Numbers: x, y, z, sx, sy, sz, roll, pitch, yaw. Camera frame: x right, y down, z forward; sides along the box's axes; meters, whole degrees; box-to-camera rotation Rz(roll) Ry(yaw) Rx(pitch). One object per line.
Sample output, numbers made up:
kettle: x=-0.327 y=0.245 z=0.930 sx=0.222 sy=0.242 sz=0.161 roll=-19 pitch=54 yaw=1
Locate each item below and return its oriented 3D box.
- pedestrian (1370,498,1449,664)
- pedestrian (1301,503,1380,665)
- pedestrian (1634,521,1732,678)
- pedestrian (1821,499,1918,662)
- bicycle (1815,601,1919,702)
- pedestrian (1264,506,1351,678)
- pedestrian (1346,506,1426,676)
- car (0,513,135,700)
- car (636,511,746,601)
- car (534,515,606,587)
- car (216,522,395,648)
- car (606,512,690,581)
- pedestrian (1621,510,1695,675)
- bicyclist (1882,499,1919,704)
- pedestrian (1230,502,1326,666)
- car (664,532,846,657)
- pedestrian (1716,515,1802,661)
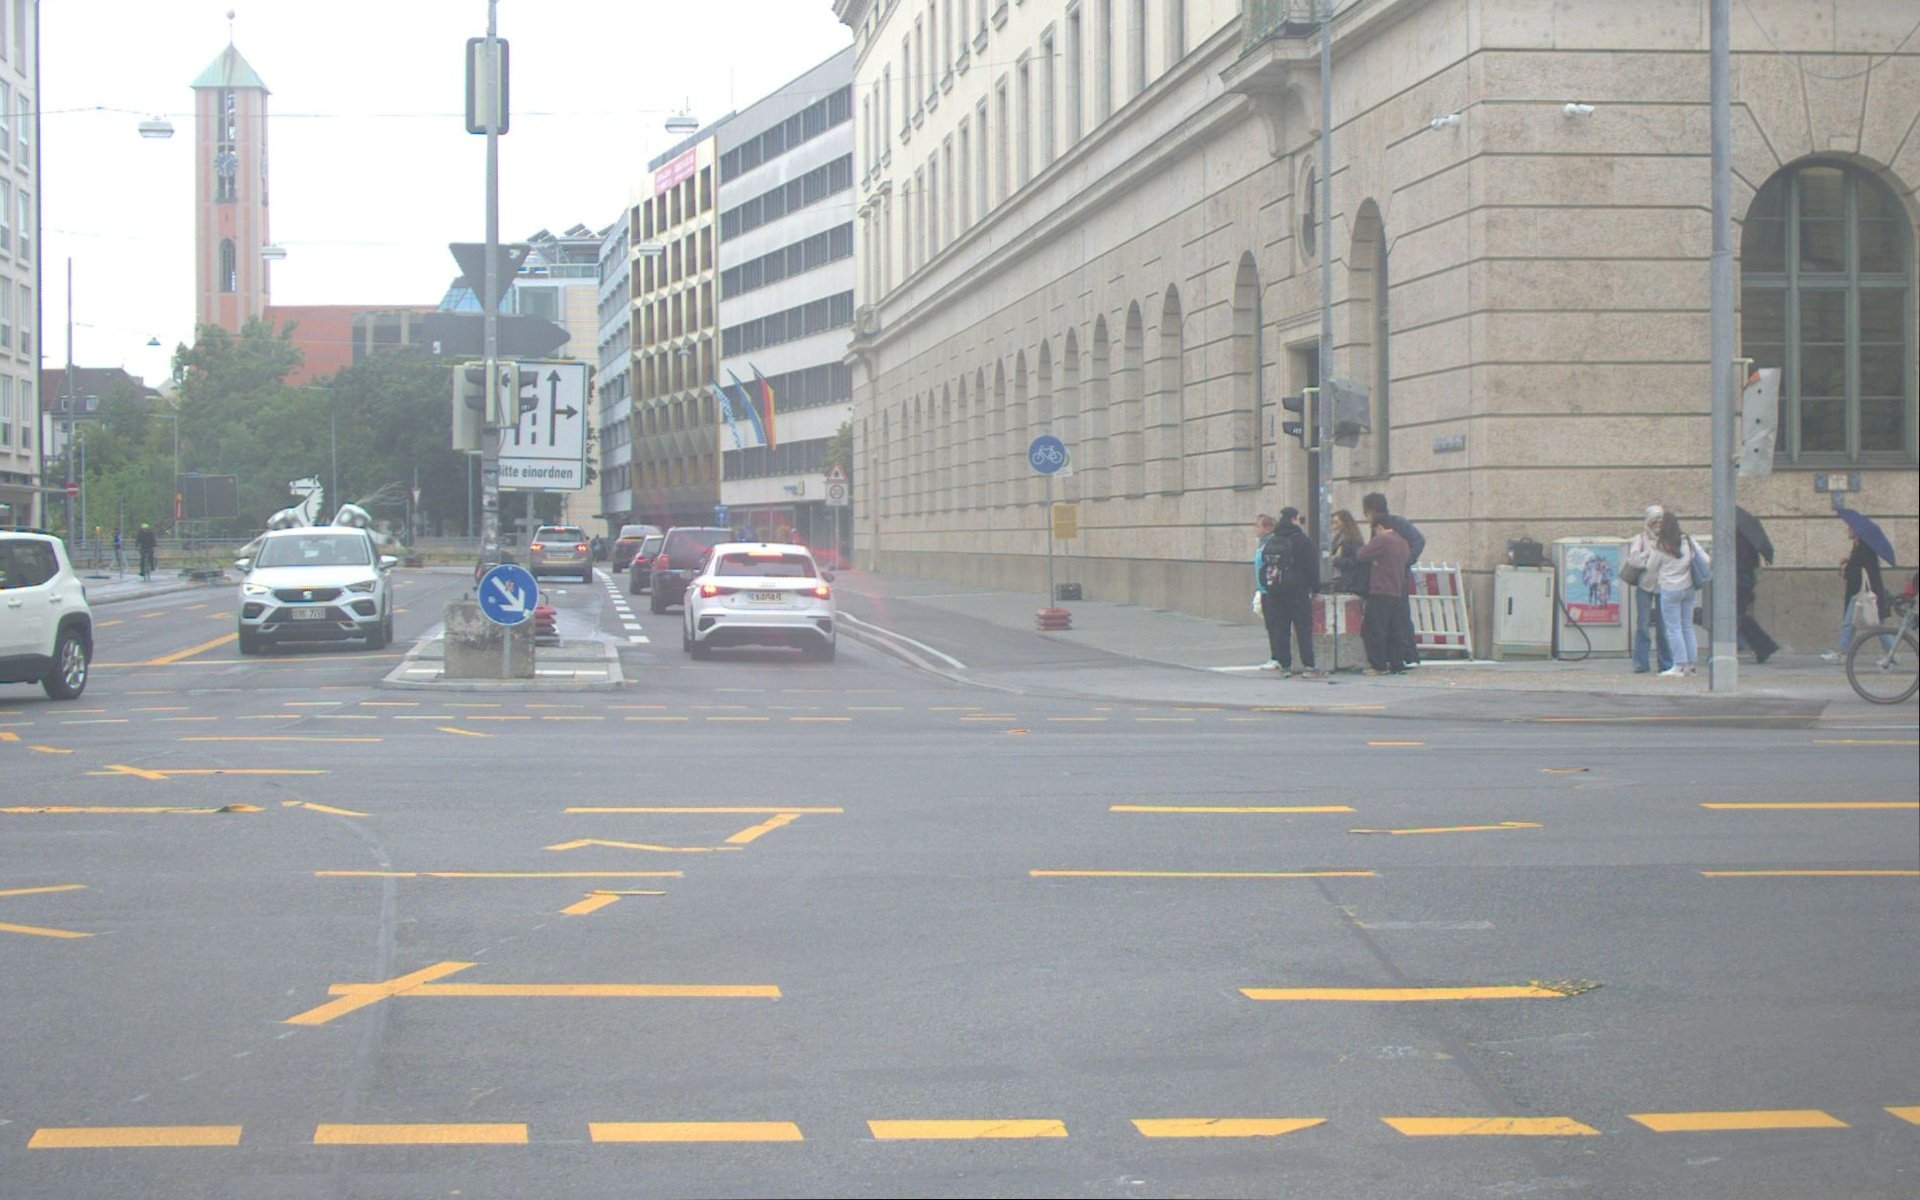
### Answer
pedestrian: x=4.826 y=-0.210 z=36.879 sx=0.584 sy=1.749 sz=0.819 roll=2 pitch=1 yaw=25
pedestrian: x=4.188 y=-0.182 z=37.834 sx=0.817 sy=1.749 sz=0.585 roll=1 pitch=1 yaw=8
pedestrian: x=7.293 y=-0.008 z=34.697 sx=0.817 sy=1.552 sz=0.667 roll=1 pitch=1 yaw=1
pedestrian: x=9.570 y=-0.215 z=36.191 sx=0.715 sy=1.688 sz=0.820 roll=1 pitch=1 yaw=-5
bicycle: x=8.858 y=0.476 z=31.249 sx=1.971 sy=0.876 sz=0.662 roll=1 pitch=1 yaw=-4
pedestrian: x=3.603 y=-0.094 z=35.628 sx=0.817 sy=1.749 sz=0.679 roll=1 pitch=1 yaw=10
pedestrian: x=4.464 y=-0.101 z=36.000 sx=0.584 sy=1.749 sz=0.819 roll=2 pitch=1 yaw=25
car: x=-9.380 y=0.042 z=31.878 sx=1.794 sy=1.671 sz=4.231 roll=0 pitch=2 yaw=11
car: x=-5.006 y=-0.839 z=63.628 sx=1.864 sy=1.596 sz=3.852 roll=0 pitch=2 yaw=-7
car: x=-11.192 y=-1.424 z=98.571 sx=1.993 sy=2.007 sz=4.001 roll=0 pitch=2 yaw=-7
car: x=-8.397 y=-0.238 z=44.430 sx=1.993 sy=1.518 sz=4.234 roll=0 pitch=2 yaw=-7
car: x=-7.466 y=-1.288 z=82.076 sx=1.864 sy=1.596 sz=3.852 roll=0 pitch=2 yaw=-7
pedestrian: x=7.183 y=-0.083 z=35.402 sx=0.616 sy=1.666 sz=0.542 roll=1 pitch=1 yaw=1
bicyclist: x=8.878 y=0.009 z=31.235 sx=0.743 sy=1.836 sz=0.661 roll=1 pitch=1 yaw=-4
pedestrian: x=3.431 y=-0.179 z=37.151 sx=0.817 sy=1.749 sz=0.585 roll=0 pitch=2 yaw=-37
car: x=-2.629 y=-0.108 z=43.214 sx=1.812 sy=1.420 sz=4.453 roll=1 pitch=1 yaw=-9
pedestrian: x=8.523 y=-0.137 z=36.686 sx=0.665 sy=1.522 sz=0.820 roll=1 pitch=1 yaw=-2
